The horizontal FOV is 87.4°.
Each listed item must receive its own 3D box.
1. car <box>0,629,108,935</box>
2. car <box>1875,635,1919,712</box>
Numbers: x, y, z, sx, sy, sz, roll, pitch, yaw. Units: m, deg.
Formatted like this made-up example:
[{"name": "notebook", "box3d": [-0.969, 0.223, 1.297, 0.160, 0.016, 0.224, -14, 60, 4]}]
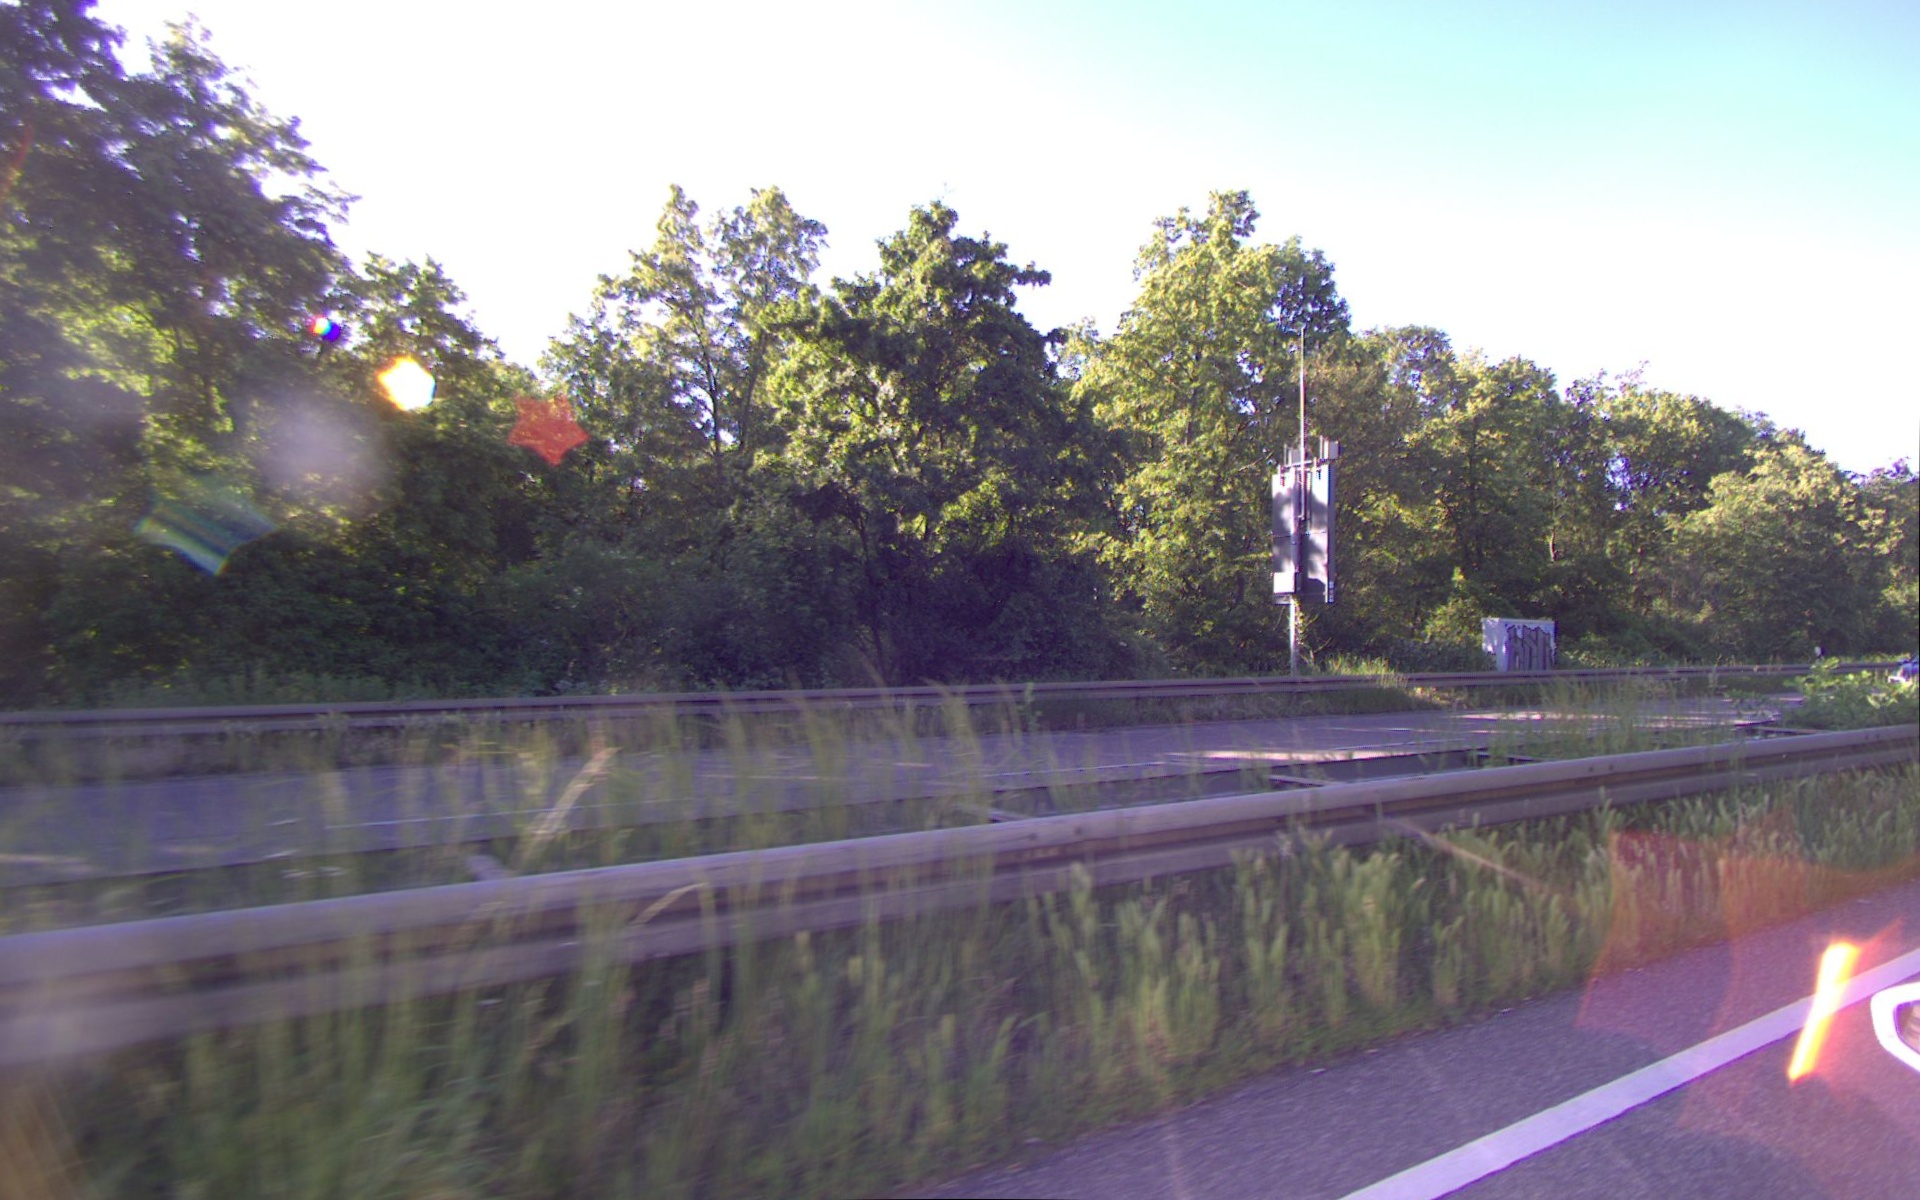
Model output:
[{"name": "car", "box3d": [-6.827, 0.831, 4.330, 4.497, 1.421, 1.773, 1, -2, -29]}, {"name": "car", "box3d": [21.429, 1.538, 21.322, 4.552, 1.550, 1.611, 1, -2, -29]}]
